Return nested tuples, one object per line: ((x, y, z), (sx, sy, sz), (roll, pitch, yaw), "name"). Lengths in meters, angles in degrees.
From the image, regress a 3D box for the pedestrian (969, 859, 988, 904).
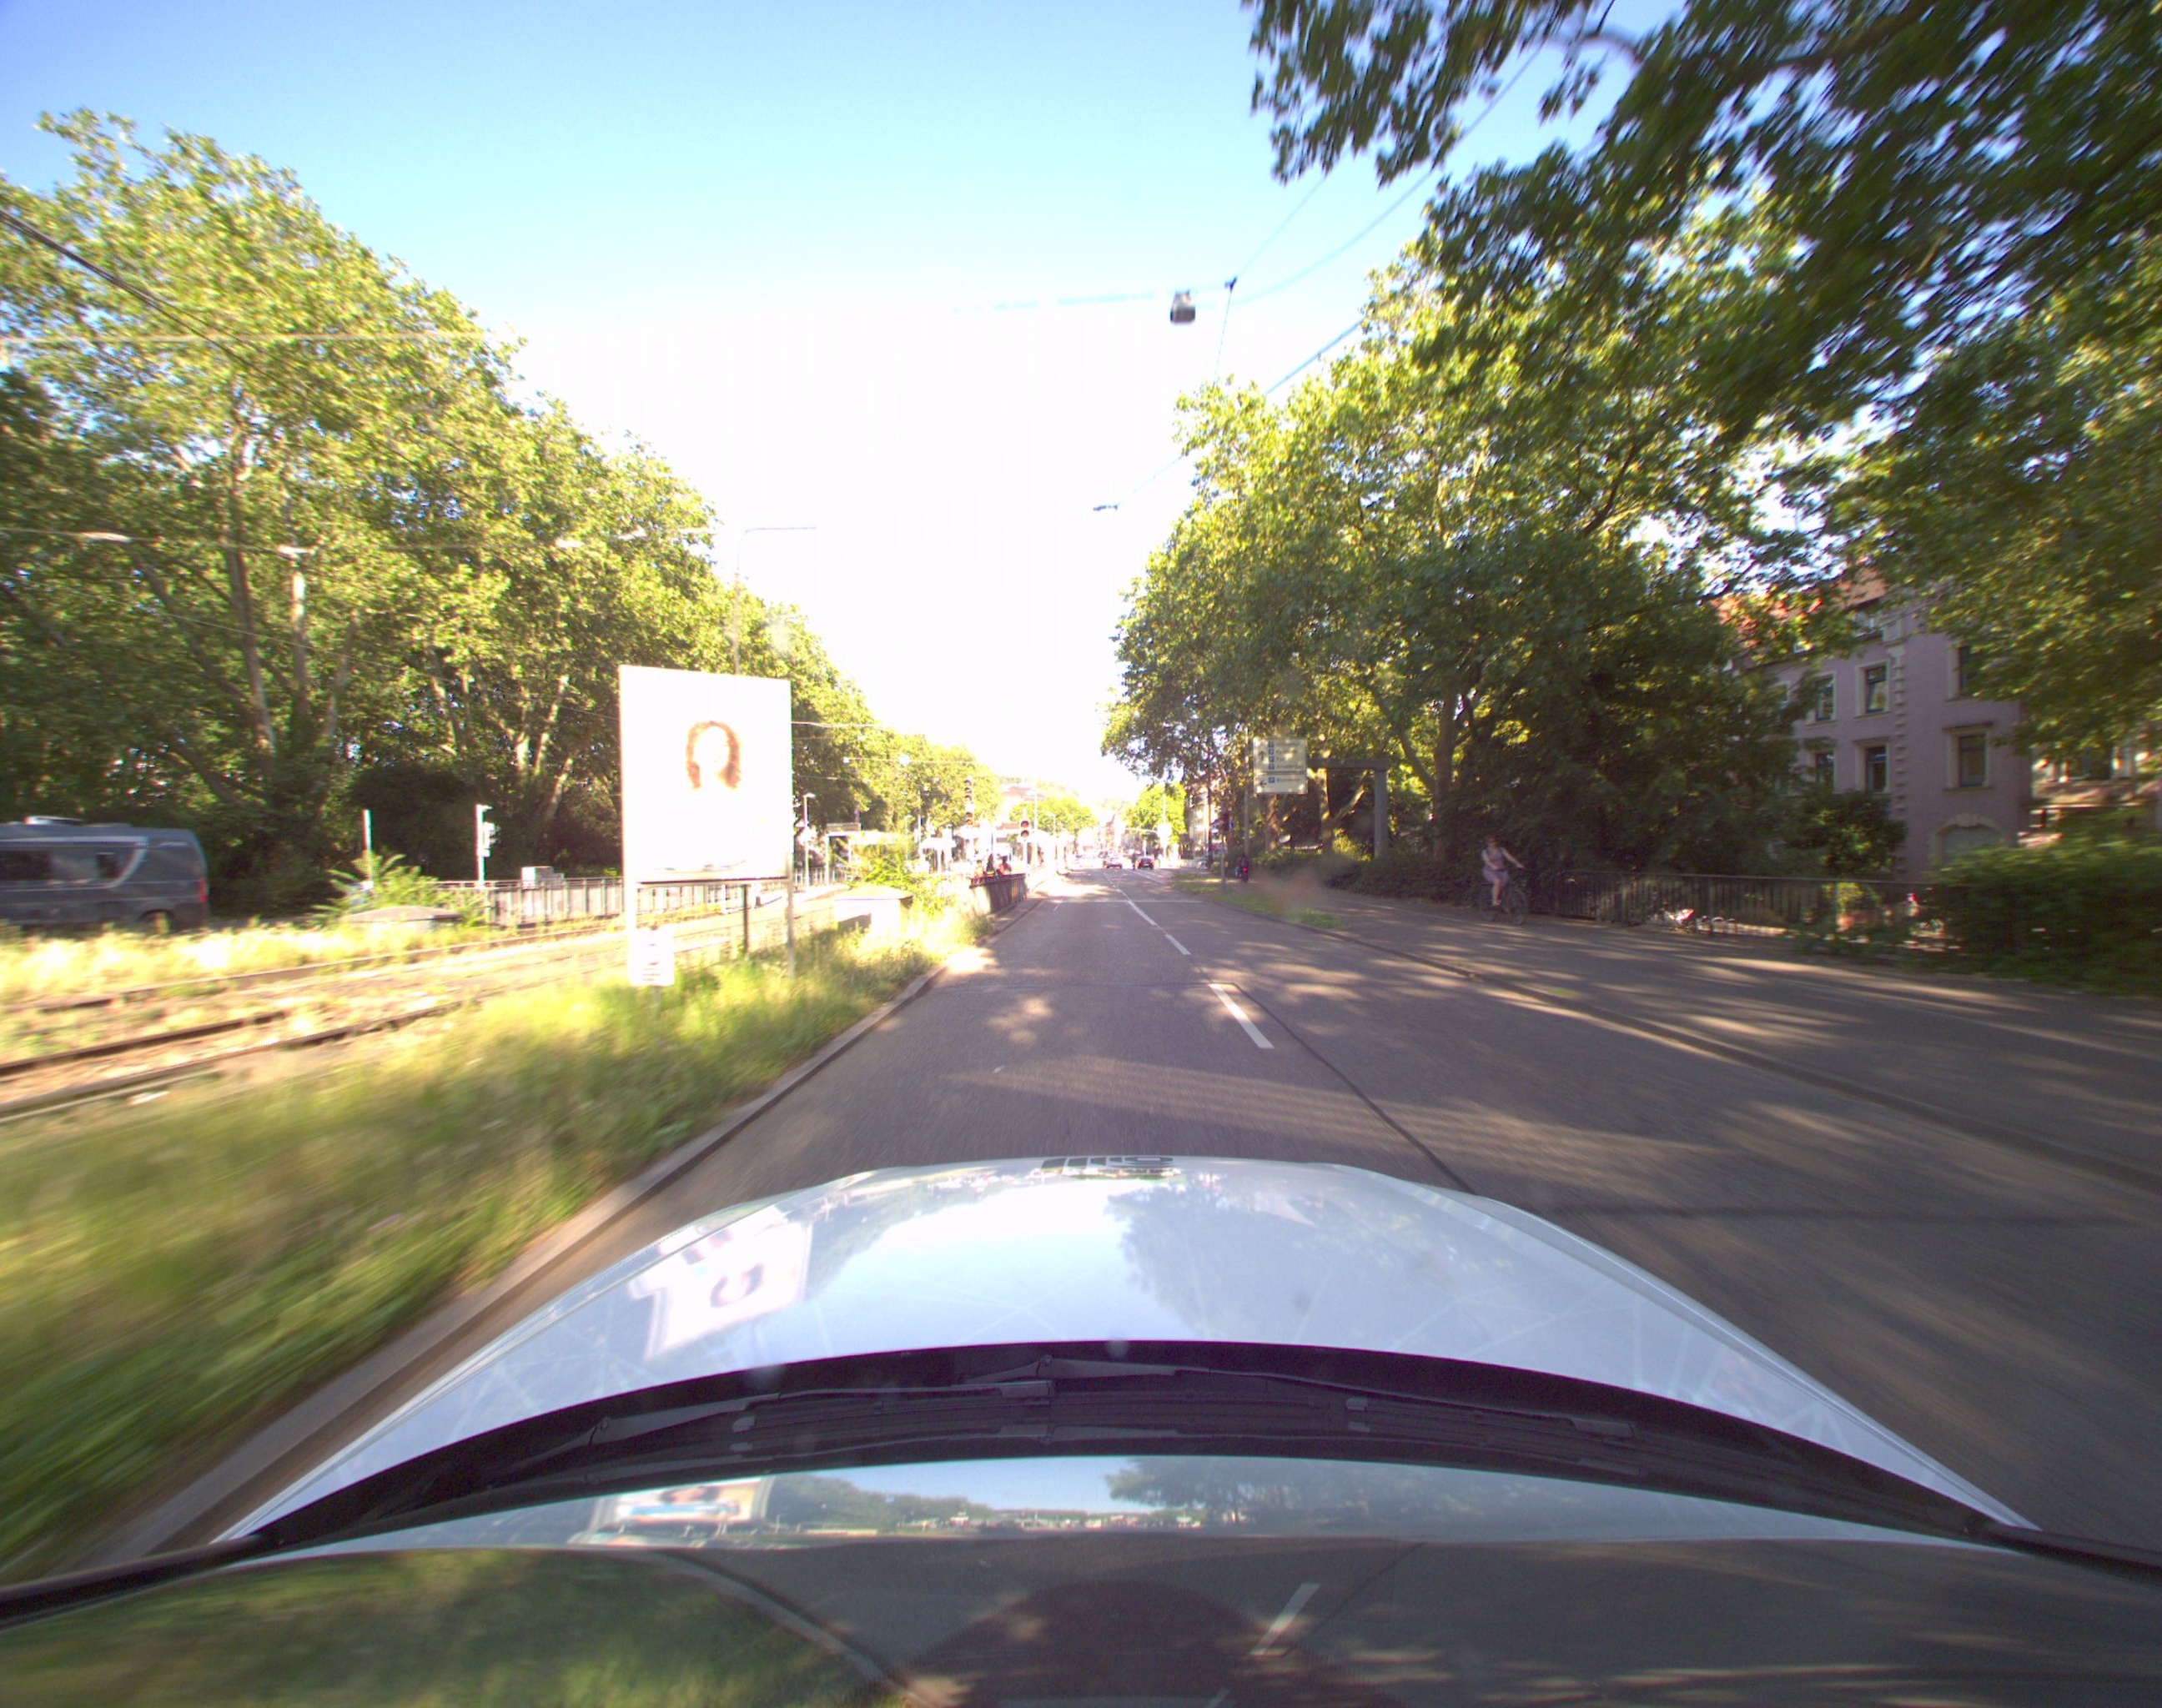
((-3.484, 0.922, 27.631), (0.518, 1.472, 0.514), (-3, -1, 1), "pedestrian")

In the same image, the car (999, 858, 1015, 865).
((-17.082, 1.655, 187.968), (1.905, 1.649, 4.202), (-1, 0, 21), "car")

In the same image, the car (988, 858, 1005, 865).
((-19.526, 1.686, 188.665), (1.777, 1.649, 4.035), (-1, 0, 29), "car")

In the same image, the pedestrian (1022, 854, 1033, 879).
((-3.330, 0.763, 50.447), (0.586, 1.567, 0.650), (1, -1, 1), "pedestrian")

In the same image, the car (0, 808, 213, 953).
((-19.877, 0.504, 14.603), (2.177, 2.521, 6.028), (-2, -1, -1), "car")

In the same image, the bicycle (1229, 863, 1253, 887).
((7.544, 0.987, 38.379), (0.763, 1.107, 1.800), (0, 0, 0), "bicycle")

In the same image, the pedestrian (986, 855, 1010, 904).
((-2.741, 0.836, 26.759), (0.515, 1.568, 0.511), (-3, -1, 30), "pedestrian")

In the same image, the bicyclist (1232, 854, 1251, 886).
((7.533, 0.746, 38.216), (0.764, 1.513, 0.650), (0, 0, -1), "bicyclist")

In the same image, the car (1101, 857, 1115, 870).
((3.577, 1.262, 108.344), (1.794, 1.638, 4.044), (0, 0, 0), "car")

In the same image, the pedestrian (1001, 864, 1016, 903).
((-2.483, 0.995, 27.824), (0.414, 1.321, 0.359), (-3, -1, 0), "pedestrian")

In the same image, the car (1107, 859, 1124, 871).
((4.197, 1.313, 100.924), (1.923, 1.472, 4.854), (0, 0, 0), "car")

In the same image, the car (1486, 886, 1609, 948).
((15.884, 2.089, 27.990), (1.897, 1.812, 4.099), (1, 0, 0), "car")

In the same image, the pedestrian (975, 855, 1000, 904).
((-3.025, 0.826, 26.352), (0.515, 1.568, 0.511), (-3, -1, 30), "pedestrian")

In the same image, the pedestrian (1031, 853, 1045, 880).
((-2.666, 0.780, 50.560), (0.740, 1.694, 0.791), (1, -1, 1), "pedestrian")

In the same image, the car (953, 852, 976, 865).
((-27.481, 1.013, 192.551), (2.474, 3.165, 6.571), (-1, 0, 23), "car")

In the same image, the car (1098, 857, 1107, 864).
((5.879, 1.676, 218.406), (1.783, 1.826, 4.012), (-1, 0, 10), "car")

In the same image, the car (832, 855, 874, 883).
((-18.716, 1.259, 67.109), (2.061, 2.124, 5.087), (-2, -1, -1), "car")

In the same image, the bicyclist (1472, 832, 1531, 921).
((8.432, 0.446, 16.370), (0.695, 1.728, 1.082), (-1, -1, 6), "bicyclist")

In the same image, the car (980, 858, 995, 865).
((-21.872, 1.790, 190.670), (1.779, 1.510, 4.029), (-1, 0, 19), "car")

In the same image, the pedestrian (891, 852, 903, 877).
((-13.004, 0.737, 57.426), (0.645, 1.772, 0.650), (1, -1, 3), "pedestrian")

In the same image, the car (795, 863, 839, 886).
((-18.839, 1.445, 58.369), (1.789, 1.510, 4.338), (-2, -1, -1), "car")

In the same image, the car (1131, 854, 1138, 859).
((17.173, 0.769, 261.238), (1.788, 1.510, 3.999), (0, 0, 0), "car")

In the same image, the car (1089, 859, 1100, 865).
((3.560, 2.059, 210.958), (1.779, 1.510, 4.019), (-1, -1, 19), "car")

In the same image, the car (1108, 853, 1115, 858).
((8.826, 0.483, 233.037), (1.789, 1.510, 3.998), (0, 0, -1), "car")

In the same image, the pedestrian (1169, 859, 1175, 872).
((11.488, 1.435, 102.676), (0.643, 1.563, 0.635), (2, -1, 19), "pedestrian")

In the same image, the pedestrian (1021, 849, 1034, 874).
((-3.736, 0.555, 56.761), (0.656, 1.722, 0.703), (2, -1, -35), "pedestrian")

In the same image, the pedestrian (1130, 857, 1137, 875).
((5.713, 1.318, 88.896), (0.655, 1.871, 0.677), (0, -1, 0), "pedestrian")

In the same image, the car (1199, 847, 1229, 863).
((23.149, 0.232, 141.230), (4.979, 2.743, 2.081), (0, -1, 14), "car")

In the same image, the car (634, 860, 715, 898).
((-19.116, 1.158, 38.494), (1.898, 1.652, 3.968), (-2, -1, -3), "car")

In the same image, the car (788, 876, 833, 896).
((-18.877, 2.213, 57.061), (1.765, 1.292, 4.312), (-2, -1, -1), "car")

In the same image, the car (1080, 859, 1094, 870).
((0.764, 1.403, 110.095), (1.802, 1.452, 3.999), (0, 0, 0), "car")

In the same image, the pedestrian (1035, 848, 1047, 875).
((-2.839, 0.523, 57.443), (0.647, 1.841, 0.712), (1, -1, 10), "pedestrian")

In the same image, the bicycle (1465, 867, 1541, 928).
((8.433, 0.841, 16.364), (0.695, 1.107, 1.933), (-1, 0, 6), "bicycle")

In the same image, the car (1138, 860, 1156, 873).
((7.699, 1.417, 95.888), (1.794, 1.439, 4.044), (1, 0, 0), "car")

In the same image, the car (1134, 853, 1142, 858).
((17.837, 0.468, 254.716), (2.098, 1.776, 4.340), (0, 0, 0), "car")

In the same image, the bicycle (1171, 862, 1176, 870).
((12.595, 1.674, 111.408), (0.497, 1.075, 1.800), (1, -1, 0), "bicycle")

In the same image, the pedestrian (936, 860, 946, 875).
((-12.580, 1.194, 73.287), (0.668, 1.324, 0.756), (-3, -1, -2), "pedestrian")

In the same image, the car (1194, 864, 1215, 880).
((14.959, 2.190, 99.022), (1.789, 1.898, 4.356), (1, -1, -2), "car")

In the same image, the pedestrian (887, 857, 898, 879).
((-13.081, 0.974, 56.651), (0.591, 1.544, 0.627), (1, -1, 1), "pedestrian")

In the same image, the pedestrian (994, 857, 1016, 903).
((-2.547, 0.876, 27.356), (0.587, 1.519, 0.514), (-3, -1, 1), "pedestrian")
